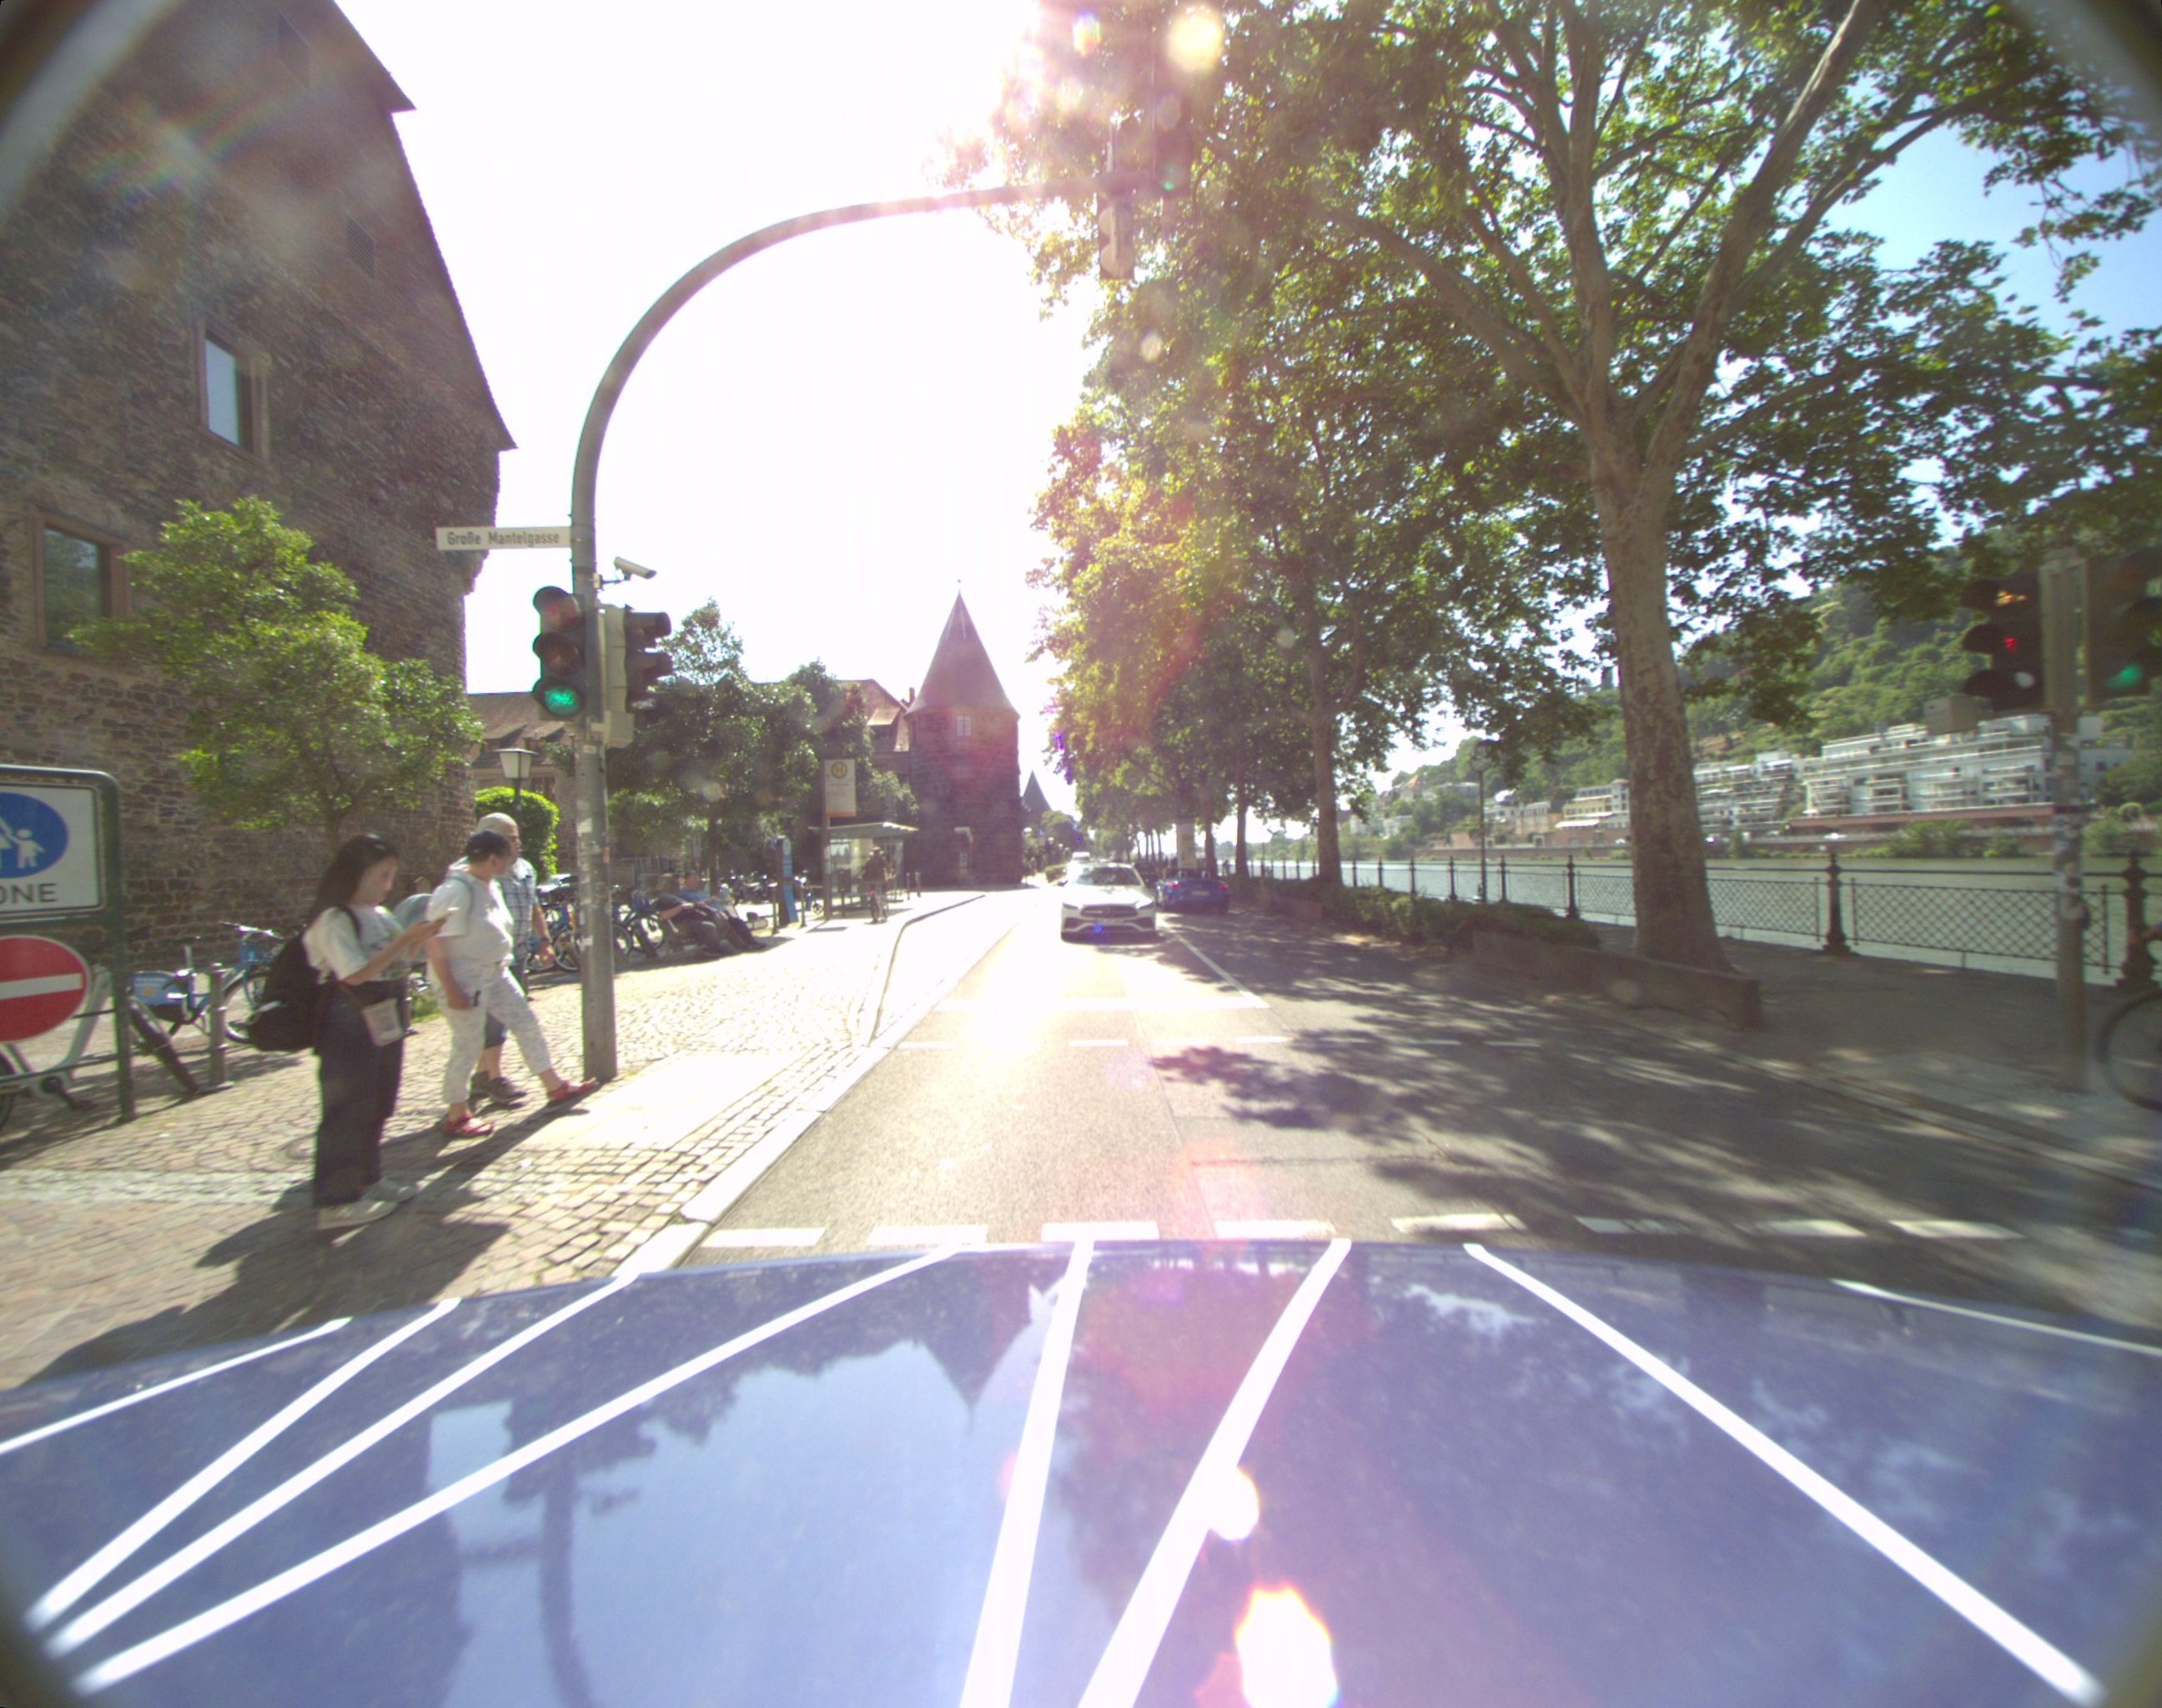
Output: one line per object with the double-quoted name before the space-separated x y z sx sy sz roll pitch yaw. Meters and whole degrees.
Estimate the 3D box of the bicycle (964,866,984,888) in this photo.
"bicycle" -6.119 1.320 43.512 0.845 1.146 1.844 -2 0 0

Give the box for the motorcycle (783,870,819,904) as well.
"motorcycle" -11.051 1.266 30.071 0.660 1.229 2.215 -2 0 -3

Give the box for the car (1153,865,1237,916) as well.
"car" 3.356 1.045 23.101 1.845 1.262 4.261 2 0 0

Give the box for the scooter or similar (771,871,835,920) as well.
"scooter or similar" -7.602 1.123 20.794 1.434 1.208 0.652 -4 1 0

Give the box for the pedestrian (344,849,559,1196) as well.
"pedestrian" -3.330 0.832 4.076 0.528 1.702 0.665 -2 1 0

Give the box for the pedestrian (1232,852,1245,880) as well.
"pedestrian" 9.433 0.722 45.548 0.633 1.618 0.553 -2 1 0

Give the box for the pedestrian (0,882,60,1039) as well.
"pedestrian" -12.575 1.220 8.561 0.760 1.750 0.960 -2 1 0

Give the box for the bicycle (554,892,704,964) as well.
"bicycle" -7.646 1.235 12.921 2.029 1.059 0.801 -3 0 -1

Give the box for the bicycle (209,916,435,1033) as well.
"bicycle" -8.282 1.300 8.338 1.797 1.104 0.608 -3 0 -1

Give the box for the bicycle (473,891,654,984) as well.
"bicycle" -7.661 1.220 11.319 2.085 1.191 0.776 -3 0 -1

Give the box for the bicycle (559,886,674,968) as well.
"bicycle" -8.658 1.349 14.189 1.551 1.190 0.725 -12 -1 7

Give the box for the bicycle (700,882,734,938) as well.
"bicycle" -8.202 1.226 17.099 0.548 1.125 1.734 -2 1 -29

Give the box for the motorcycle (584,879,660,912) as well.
"motorcycle" -17.551 1.585 29.087 2.342 1.140 0.878 -3 1 4

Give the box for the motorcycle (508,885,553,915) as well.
"motorcycle" -23.033 1.907 31.826 0.599 1.153 1.917 -2 -2 -5

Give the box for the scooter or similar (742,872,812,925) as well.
"scooter or similar" -7.710 1.126 19.319 1.434 1.208 0.652 -4 1 0

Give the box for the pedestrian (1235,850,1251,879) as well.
"pedestrian" 9.711 0.620 45.525 0.793 1.674 0.709 -2 1 0

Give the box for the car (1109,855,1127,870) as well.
"car" 4.242 0.942 87.238 1.875 1.661 4.745 -1 -1 1

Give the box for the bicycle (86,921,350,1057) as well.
"bicycle" -8.142 1.257 7.211 1.797 1.104 0.563 -3 0 -1

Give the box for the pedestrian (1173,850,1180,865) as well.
"pedestrian" 11.023 0.386 87.779 0.760 1.697 0.730 -2 1 0

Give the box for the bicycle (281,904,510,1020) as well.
"bicycle" -8.072 1.256 8.998 2.085 1.191 0.608 -3 0 -1

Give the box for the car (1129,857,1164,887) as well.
"car" 3.624 0.961 42.487 1.705 1.509 4.405 2 0 2

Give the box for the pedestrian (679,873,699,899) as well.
"pedestrian" -21.871 1.796 42.420 0.660 1.413 0.675 -1 2 31

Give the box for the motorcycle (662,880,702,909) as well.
"motorcycle" -15.722 1.571 29.968 0.631 1.074 1.929 -2 -1 -3

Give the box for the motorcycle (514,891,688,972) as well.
"motorcycle" -7.604 1.211 12.104 2.210 1.097 0.776 -3 0 -1

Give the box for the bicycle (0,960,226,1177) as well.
"bicycle" -6.204 1.273 4.428 0.509 0.998 1.579 -2 3 3

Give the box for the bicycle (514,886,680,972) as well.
"bicycle" -7.668 1.167 12.103 2.085 1.191 0.776 -3 0 -1

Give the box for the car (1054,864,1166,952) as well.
"car" 0.531 0.950 15.258 1.875 1.416 4.744 -1 0 1

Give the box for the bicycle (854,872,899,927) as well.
"bicycle" -4.636 0.999 17.358 0.691 1.123 2.008 -2 0 -7

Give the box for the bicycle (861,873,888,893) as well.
"bicycle" -10.992 1.552 40.540 0.659 0.996 1.714 -2 0 10

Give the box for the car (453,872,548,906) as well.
"car" -34.338 2.010 45.131 1.998 1.608 4.425 -1 2 4

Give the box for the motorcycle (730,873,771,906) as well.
"motorcycle" -12.856 1.361 29.608 0.671 1.224 1.807 -2 -1 3

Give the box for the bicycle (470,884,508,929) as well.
"bicycle" -16.522 1.441 21.233 0.548 1.146 1.922 -2 1 -30

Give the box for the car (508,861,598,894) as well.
"car" -31.203 1.341 45.067 1.998 1.608 4.425 -1 2 4

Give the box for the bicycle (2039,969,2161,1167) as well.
"bicycle" 6.397 1.094 3.797 1.826 0.920 0.744 -7 -2 41

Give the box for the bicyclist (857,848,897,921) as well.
"bicyclist" -4.638 0.677 17.332 0.711 1.619 0.886 -2 1 -7

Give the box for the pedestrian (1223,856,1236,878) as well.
"pedestrian" 8.890 0.764 45.581 0.633 1.312 0.553 -1 1 0

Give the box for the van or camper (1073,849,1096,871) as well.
"van or camper" 0.404 0.662 85.064 2.437 2.271 6.203 -2 0 0

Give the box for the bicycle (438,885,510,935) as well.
"bicycle" -15.758 1.422 19.778 0.527 1.154 1.925 -2 0 -9

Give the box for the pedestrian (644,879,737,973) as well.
"pedestrian" -5.701 1.027 11.136 0.963 1.274 0.693 -2 1 -1

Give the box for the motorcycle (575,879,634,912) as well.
"motorcycle" -19.735 1.714 31.524 0.598 1.229 2.050 -1 1 26

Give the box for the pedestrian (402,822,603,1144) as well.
"pedestrian" -3.552 0.742 4.730 0.618 1.841 0.730 -2 1 1

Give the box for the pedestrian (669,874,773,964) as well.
"pedestrian" -5.573 0.986 11.815 1.250 1.300 0.693 -2 1 -1

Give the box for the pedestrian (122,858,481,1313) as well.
"pedestrian" -3.156 0.864 3.158 0.717 1.666 0.682 -2 1 0

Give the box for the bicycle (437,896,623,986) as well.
"bicycle" -7.649 1.196 10.599 2.085 1.079 0.604 -3 0 -1

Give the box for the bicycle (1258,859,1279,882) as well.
"bicycle" 9.762 0.856 39.627 0.564 1.146 1.844 -4 0 0

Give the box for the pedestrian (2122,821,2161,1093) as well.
"pedestrian" 6.411 0.654 3.864 1.023 1.761 0.770 -7 -3 41

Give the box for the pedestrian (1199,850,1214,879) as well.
"pedestrian" 7.627 0.634 46.204 0.760 1.720 0.730 -2 1 0

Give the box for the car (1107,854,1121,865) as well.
"car" 5.153 0.841 119.626 1.998 1.598 4.257 -2 0 0

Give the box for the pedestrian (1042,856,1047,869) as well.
"pedestrian" -4.620 1.054 96.102 0.592 1.662 0.441 -2 1 0

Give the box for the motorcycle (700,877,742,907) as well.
"motorcycle" -14.675 1.542 31.015 0.877 1.087 1.904 -2 0 -3

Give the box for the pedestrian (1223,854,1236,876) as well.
"pedestrian" 8.904 0.638 45.516 0.633 1.312 0.553 -2 1 0

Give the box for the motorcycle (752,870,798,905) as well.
"motorcycle" -11.944 1.276 29.715 0.740 1.229 2.272 -2 0 3

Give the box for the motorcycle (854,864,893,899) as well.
"motorcycle" -8.132 1.062 29.897 0.885 1.285 2.528 -3 -1 -3

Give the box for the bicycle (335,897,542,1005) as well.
"bicycle" -8.079 1.203 9.600 2.085 1.191 0.527 -3 0 -1

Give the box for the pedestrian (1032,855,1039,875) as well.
"pedestrian" -4.127 1.001 69.059 0.556 1.844 1.023 -2 0 0

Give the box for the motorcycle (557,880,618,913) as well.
"motorcycle" -20.434 1.756 31.515 0.598 1.229 2.050 -1 1 27
